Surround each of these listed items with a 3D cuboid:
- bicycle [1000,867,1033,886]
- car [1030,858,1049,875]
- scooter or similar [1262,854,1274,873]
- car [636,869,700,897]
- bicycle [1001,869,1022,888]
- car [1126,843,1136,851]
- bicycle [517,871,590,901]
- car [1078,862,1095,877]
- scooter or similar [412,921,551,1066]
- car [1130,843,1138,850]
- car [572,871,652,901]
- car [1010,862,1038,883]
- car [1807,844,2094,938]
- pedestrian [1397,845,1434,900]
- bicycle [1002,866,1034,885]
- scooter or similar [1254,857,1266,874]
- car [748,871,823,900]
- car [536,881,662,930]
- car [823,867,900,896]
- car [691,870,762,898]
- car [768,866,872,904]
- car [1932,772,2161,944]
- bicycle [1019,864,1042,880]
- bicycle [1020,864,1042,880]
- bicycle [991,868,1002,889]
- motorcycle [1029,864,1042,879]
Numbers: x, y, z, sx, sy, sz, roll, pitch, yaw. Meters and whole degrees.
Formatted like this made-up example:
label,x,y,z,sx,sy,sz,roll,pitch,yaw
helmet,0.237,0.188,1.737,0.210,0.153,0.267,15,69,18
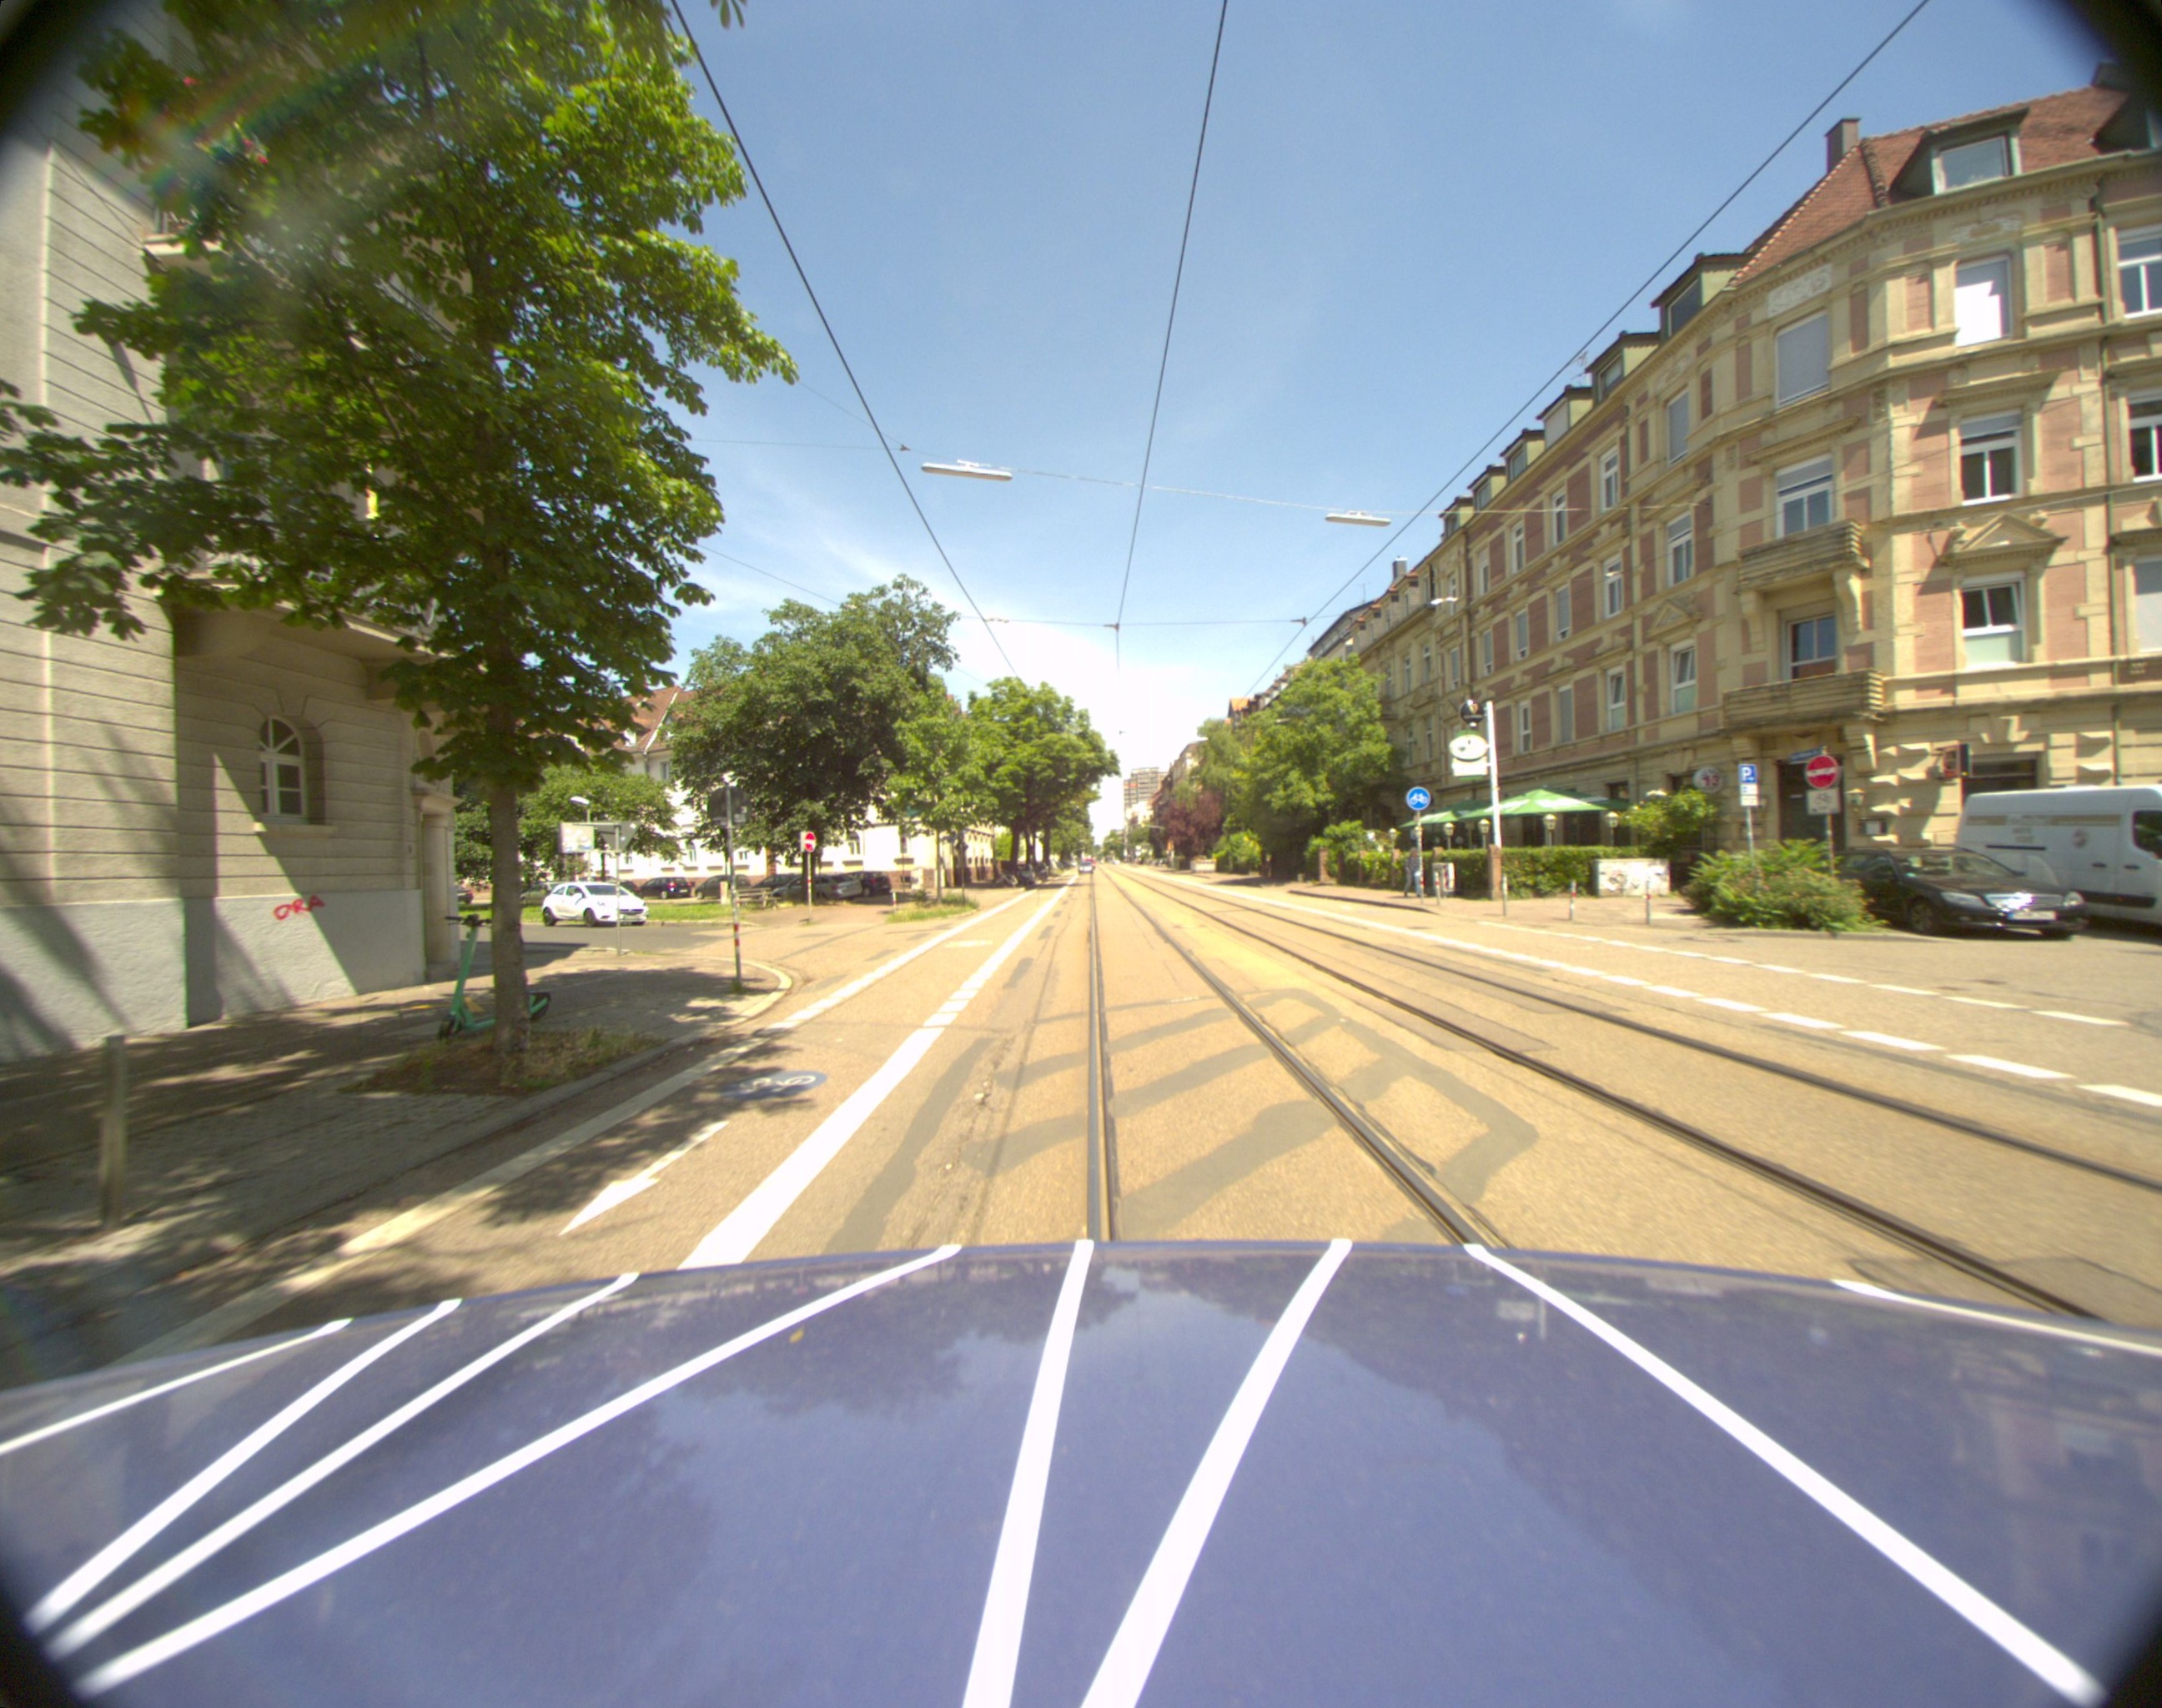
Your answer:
label,x,y,z,sx,sy,sz,roll,pitch,yaw
bicycle,-4.165,1.458,49.038,2.037,1.193,0.445,-2,1,11
car,-3.916,1.149,71.988,1.539,1.535,4.000,-2,0,1
scooter or similar,13.436,0.676,54.630,0.617,1.391,0.695,-2,0,-9
car,-26.925,1.905,49.486,3.990,1.720,1.655,-2,1,28
bicycle,-4.057,1.428,44.450,1.169,1.057,0.280,-2,1,4
car,11.216,-1.629,171.955,1.998,1.717,3.871,-2,1,1
bicycle,-31.777,1.946,45.770,3.990,1.636,1.841,-2,1,25
car,0.615,1.776,87.817,1.893,1.561,4.037,-2,1,1
scooter or similar,-5.700,1.283,7.293,0.296,1.154,1.252,-2,0,0
car,10.657,-1.432,152.899,1.493,1.372,3.630,-2,1,1
car,-26.463,1.802,42.853,3.990,1.573,2.003,-2,1,27
car,-4.017,1.272,53.714,1.596,1.443,3.632,0,0,1
car,15.162,0.565,13.578,1.592,1.430,3.762,-2,0,16
pedestrian,10.337,0.564,23.503,0.742,1.632,0.940,-1,0,4
bicycle,-4.109,1.411,49.544,2.037,1.193,0.445,-2,1,11
scooter or similar,12.610,0.805,53.505,0.617,1.151,0.695,1,0,-9
car,-17.223,1.850,44.294,3.990,1.495,1.823,-2,3,28
car,-15.885,1.661,25.013,3.989,1.411,1.857,-2,0,31
car,-12.035,1.521,41.672,3.874,1.439,1.648,-1,1,23
car,-21.888,1.846,46.937,3.990,1.571,1.872,-2,1,28
car,-12.229,1.460,35.572,4.664,1.506,1.880,-3,-1,28
car,17.725,0.026,12.599,2.121,2.575,6.198,-1,0,20
bicycle,-3.866,1.372,58.153,1.623,1.193,0.305,-2,1,2
bicycle,-3.851,1.366,58.506,1.623,1.193,0.305,-2,1,2
bicycle,-4.948,1.419,44.368,0.284,1.193,1.625,-2,1,-19
motorcycle,-3.767,1.444,62.923,0.623,1.190,2.220,-2,1,6
